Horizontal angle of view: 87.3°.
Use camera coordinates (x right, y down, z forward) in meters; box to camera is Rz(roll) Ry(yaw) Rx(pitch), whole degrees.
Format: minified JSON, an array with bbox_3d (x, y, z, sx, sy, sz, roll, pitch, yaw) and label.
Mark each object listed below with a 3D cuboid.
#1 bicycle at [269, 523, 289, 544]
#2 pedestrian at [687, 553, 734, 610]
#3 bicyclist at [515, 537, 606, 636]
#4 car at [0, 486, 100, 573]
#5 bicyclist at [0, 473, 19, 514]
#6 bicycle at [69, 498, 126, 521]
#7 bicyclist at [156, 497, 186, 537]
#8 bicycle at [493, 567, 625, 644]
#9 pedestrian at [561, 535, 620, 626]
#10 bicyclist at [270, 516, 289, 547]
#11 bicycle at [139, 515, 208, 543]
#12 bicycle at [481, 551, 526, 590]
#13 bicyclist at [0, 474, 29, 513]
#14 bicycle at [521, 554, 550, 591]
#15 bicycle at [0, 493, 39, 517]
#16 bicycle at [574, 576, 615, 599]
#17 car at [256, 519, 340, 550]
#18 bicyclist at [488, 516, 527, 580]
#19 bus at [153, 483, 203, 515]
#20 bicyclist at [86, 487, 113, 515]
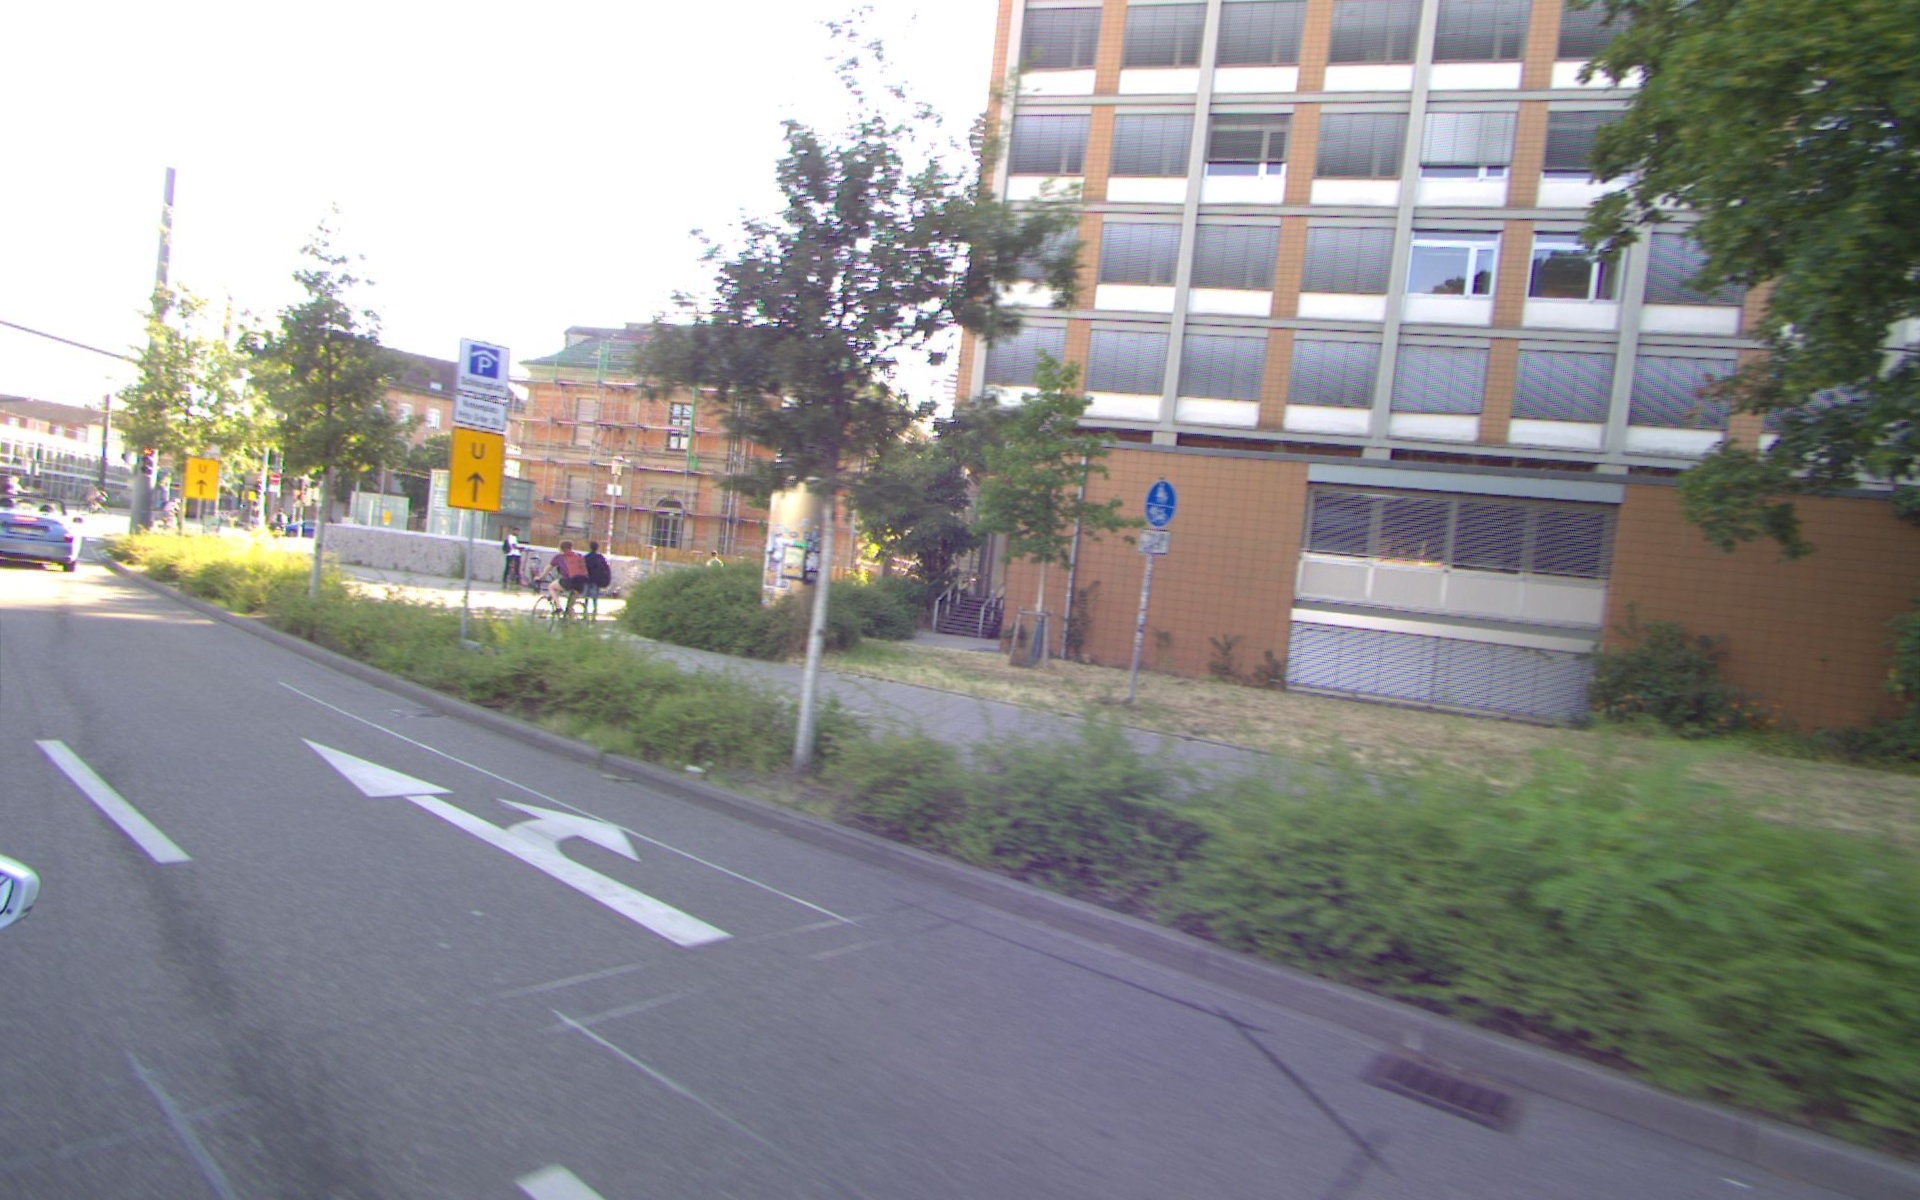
[{"bbox_3d":[-37.221,-3.637,55.000,0.784,1.052,1.943,3,2,-36],"label":"bicycle"},{"bbox_3d":[-8.306,-0.607,33.504,0.920,1.746,0.986,7,1,26],"label":"pedestrian"},{"bbox_3d":[-6.182,-0.209,15.561,1.059,1.401,0.720,6,-1,34],"label":"bicyclist"},{"bbox_3d":[-19.018,-1.495,20.657,1.793,1.462,3.935,8,-1,-39],"label":"car"},{"bbox_3d":[-44.904,-5.020,47.151,0.853,1.800,0.583,6,1,-12],"label":"bicyclist"},{"bbox_3d":[-53.533,-5.622,62.456,0.947,1.016,2.441,7,0,30],"label":"bicycle"},{"bbox_3d":[-36.167,-3.808,46.117,0.845,1.712,0.650,9,2,30],"label":"bicyclist"},{"bbox_3d":[-6.235,0.078,15.576,2.214,0.964,0.720,5,-1,35],"label":"bicycle"},{"bbox_3d":[-7.383,-0.385,20.110,0.800,1.678,0.784,8,-1,-29],"label":"pedestrian"},{"bbox_3d":[-37.166,-3.738,54.933,0.784,1.615,0.938,3,2,-37],"label":"bicyclist"},{"bbox_3d":[-36.147,-3.264,46.281,0.845,0.917,2.299,9,1,30],"label":"bicycle"},{"bbox_3d":[-13.564,-0.882,29.891,0.784,1.052,1.943,3,2,-36],"label":"bicycle"},{"bbox_3d":[-45.040,-5.051,47.764,0.847,1.712,0.649,8,2,-14],"label":"bicyclist"},{"bbox_3d":[-12.938,-0.850,30.667,0.619,1.052,1.954,4,1,-19],"label":"bicycle"},{"bbox_3d":[-45.102,-4.532,47.807,0.847,0.917,2.296,8,1,-13],"label":"bicycle"},{"bbox_3d":[-11.096,-0.381,30.533,1.335,0.547,0.429,7,3,32],"label":"bicycle"},{"bbox_3d":[-47.478,-4.686,72.266,1.923,1.614,4.602,7,0,35],"label":"car"},{"bbox_3d":[-13.440,-1.535,29.859,0.782,1.810,0.885,3,2,-37],"label":"bicyclist"},{"bbox_3d":[-84.778,-10.880,109.202,2.335,2.919,9.504,8,1,-28],"label":"bus"},{"bbox_3d":[-53.463,-6.158,62.479,0.947,1.579,0.924,7,1,30],"label":"bicyclist"}]
